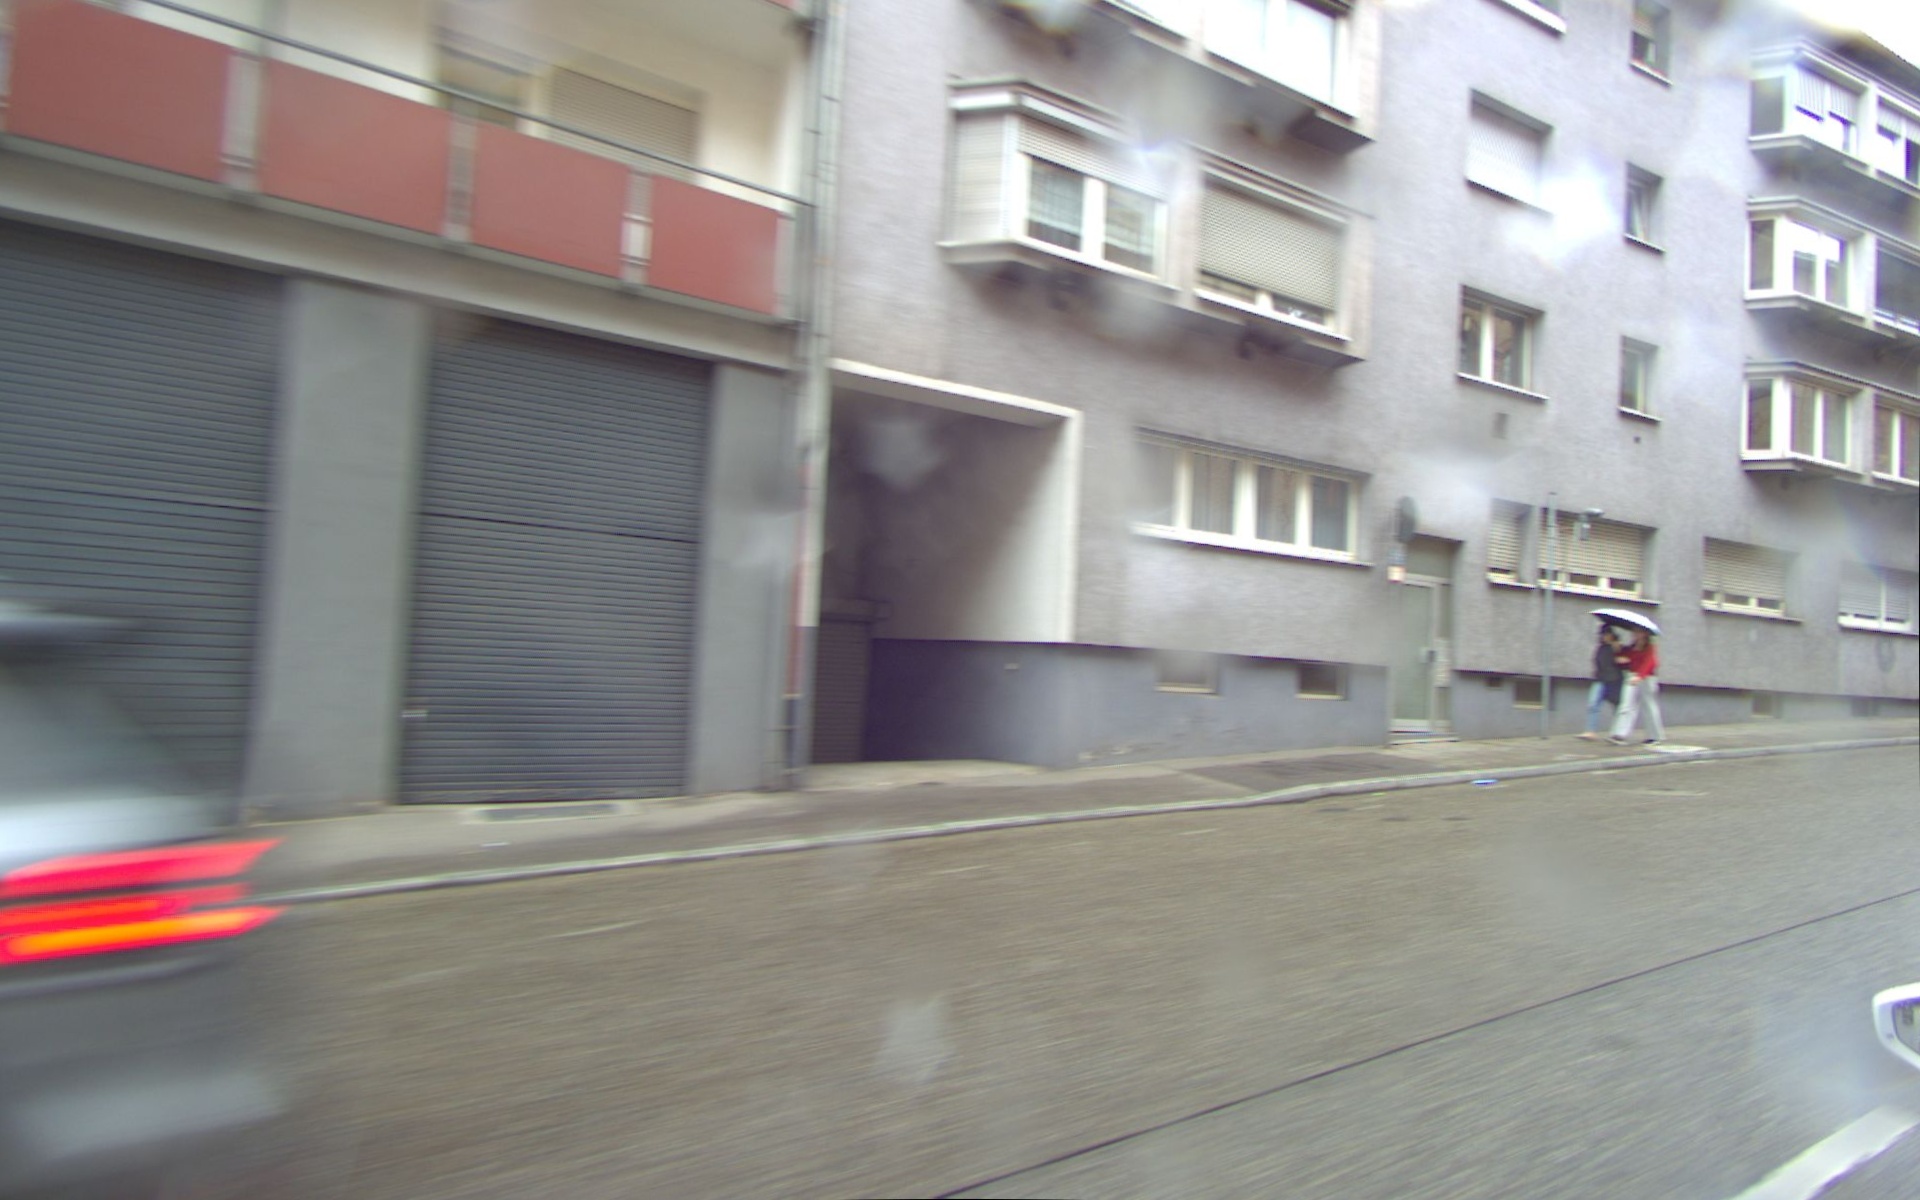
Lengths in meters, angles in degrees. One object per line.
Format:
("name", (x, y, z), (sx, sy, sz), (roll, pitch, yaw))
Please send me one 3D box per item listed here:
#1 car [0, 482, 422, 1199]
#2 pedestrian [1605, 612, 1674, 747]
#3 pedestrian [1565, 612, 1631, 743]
("car", (-2.882, 0.631, 1.326), (3.722, 1.597, 1.755), (2, -3, -32))
("pedestrian", (9.274, 1.067, 13.709), (0.614, 1.799, 0.521), (1, -2, -28))
("pedestrian", (9.008, 1.083, 14.190), (0.614, 1.799, 0.521), (1, -2, -28))
